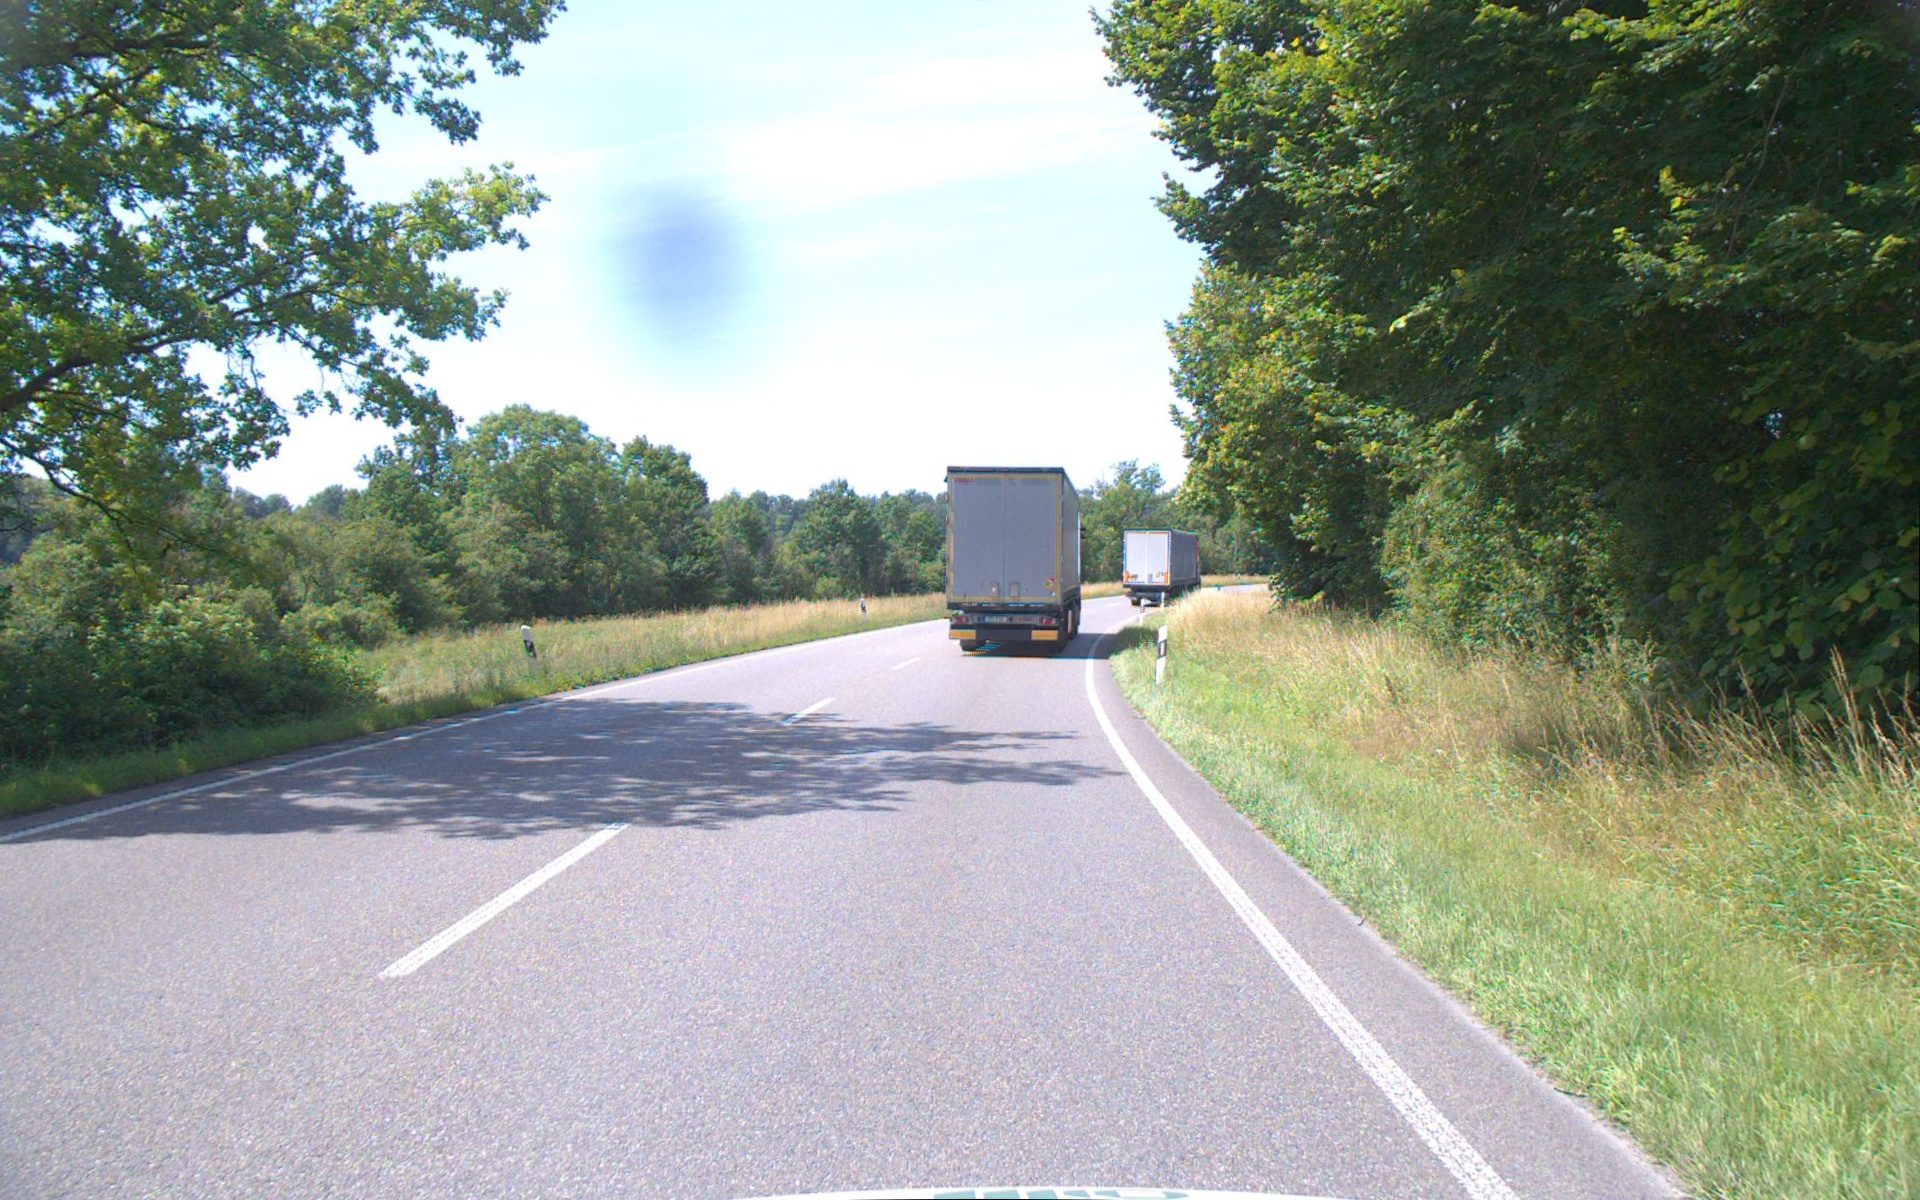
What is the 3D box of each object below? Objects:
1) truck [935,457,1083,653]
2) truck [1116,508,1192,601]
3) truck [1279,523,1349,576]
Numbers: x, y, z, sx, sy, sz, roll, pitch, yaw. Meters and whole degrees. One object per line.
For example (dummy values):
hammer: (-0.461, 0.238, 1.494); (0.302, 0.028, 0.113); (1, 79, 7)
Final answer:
truck: (1.604, -1.037, 42.649); (2.742, 4.139, 15.336); (0, 1, 6)
truck: (11.269, -2.446, 94.485); (3.038, 4.788, 16.604); (0, 1, 11)
truck: (33.855, -4.669, 157.474); (3.043, 4.788, 16.580); (0, 1, 24)
